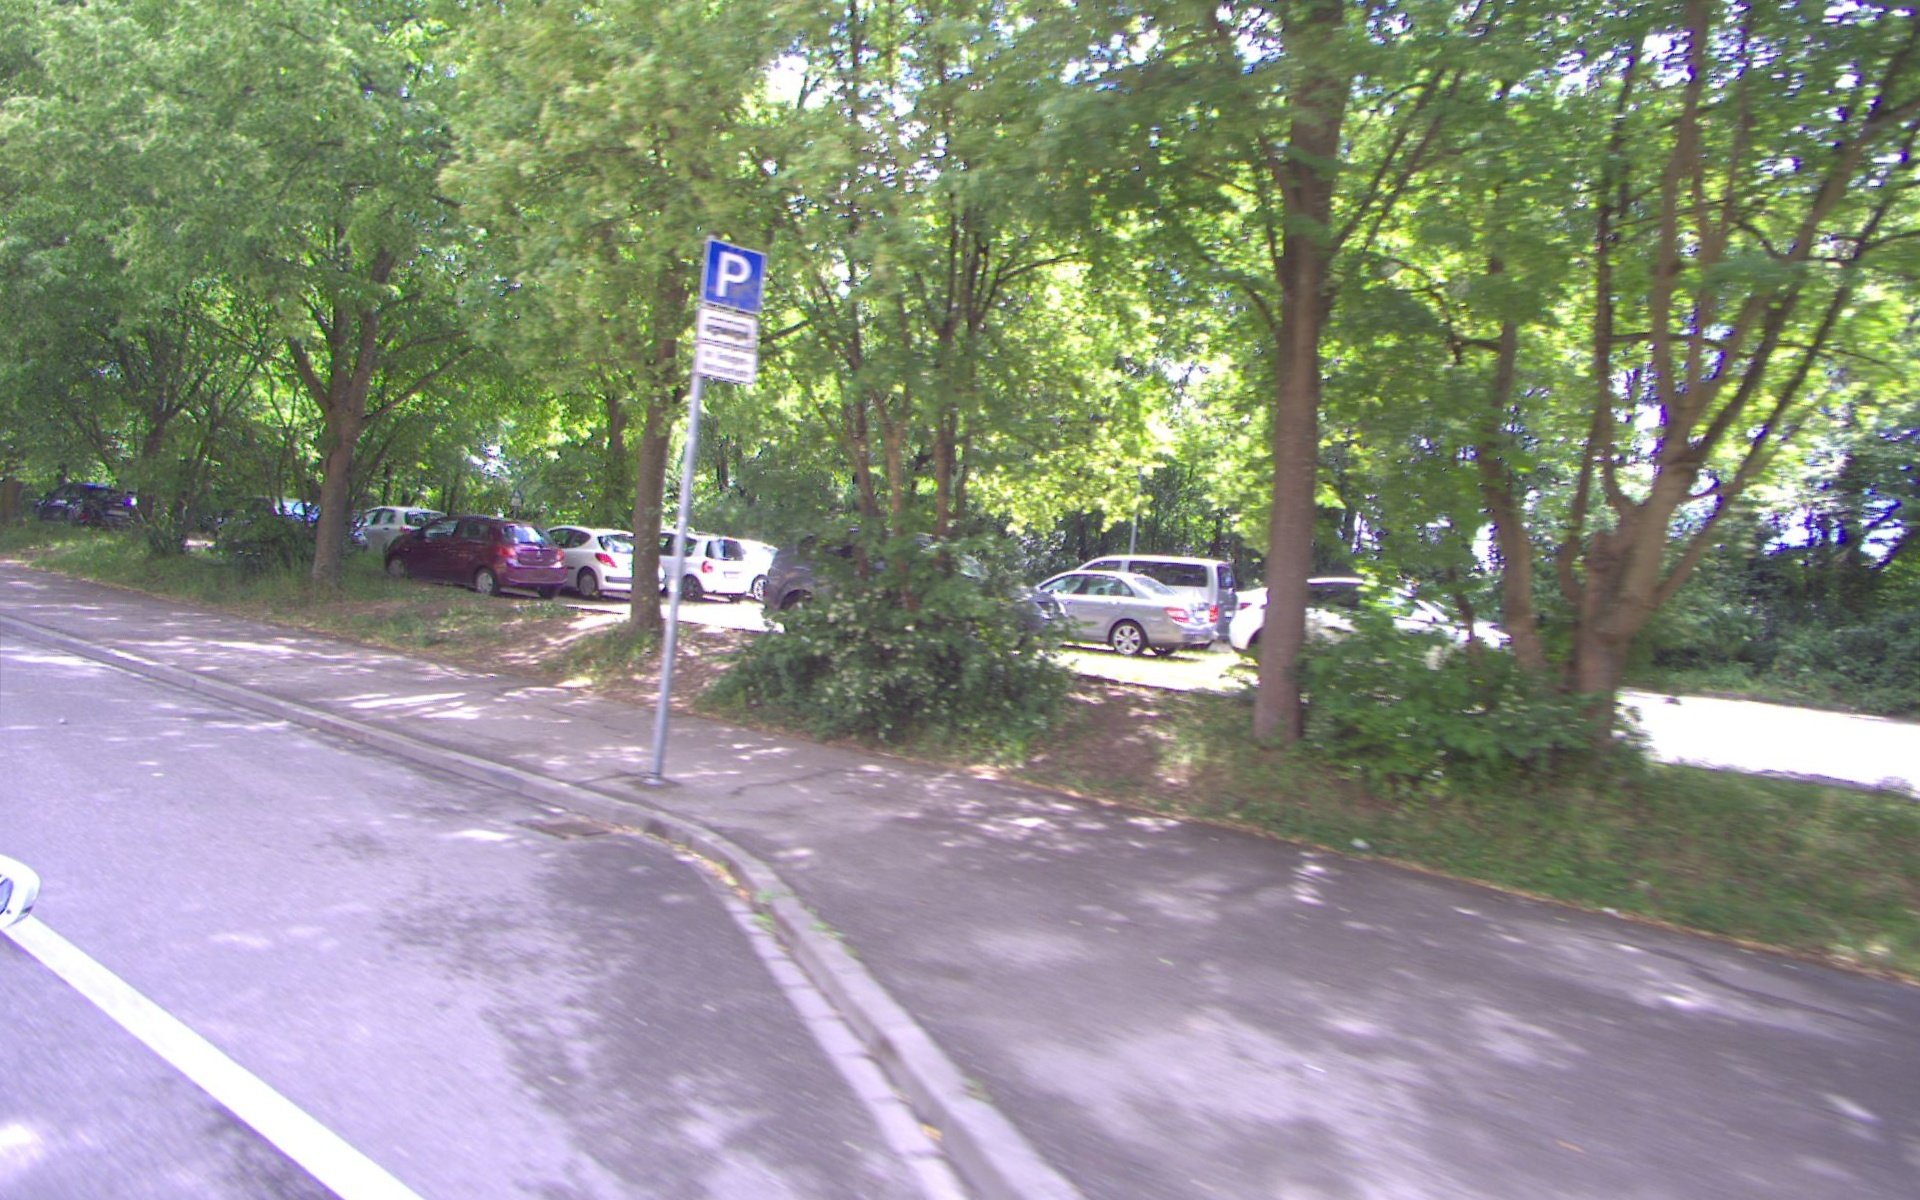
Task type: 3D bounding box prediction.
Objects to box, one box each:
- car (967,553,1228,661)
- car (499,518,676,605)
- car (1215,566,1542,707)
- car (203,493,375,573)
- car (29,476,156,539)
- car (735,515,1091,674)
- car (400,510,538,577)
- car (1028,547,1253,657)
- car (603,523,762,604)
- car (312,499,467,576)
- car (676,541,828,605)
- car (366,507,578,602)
[{"bbox_3d":[2.408,0.084,18.071,4.280,1.461,1.613,6,2,32],"label":"car"},{"bbox_3d":[-7.983,-0.838,21.481,3.563,1.528,1.691,6,3,33],"label":"car"},{"bbox_3d":[6.378,0.469,15.597,4.360,1.577,1.468,7,4,34],"label":"car"},{"bbox_3d":[-15.658,-1.577,23.437,3.923,1.483,1.798,6,1,31],"label":"car"},{"bbox_3d":[-25.526,-2.729,29.576,4.092,1.528,1.714,6,2,33],"label":"car"},{"bbox_3d":[-0.743,-0.106,14.149,4.646,1.682,1.849,6,-1,32],"label":"car"},{"bbox_3d":[-13.916,-1.603,28.440,3.923,1.588,1.607,6,3,31],"label":"car"},{"bbox_3d":[3.670,-0.001,20.733,4.138,1.815,1.612,6,3,32],"label":"car"},{"bbox_3d":[-6.711,-0.891,24.246,3.563,1.636,1.691,6,3,33],"label":"car"},{"bbox_3d":[-14.447,-1.584,25.425,3.923,1.587,1.635,6,1,31],"label":"car"},{"bbox_3d":[-5.422,-0.709,26.122,3.563,1.335,1.786,6,3,33],"label":"car"},{"bbox_3d":[-9.468,-0.877,19.512,3.750,1.432,1.612,6,2,24],"label":"car"}]
